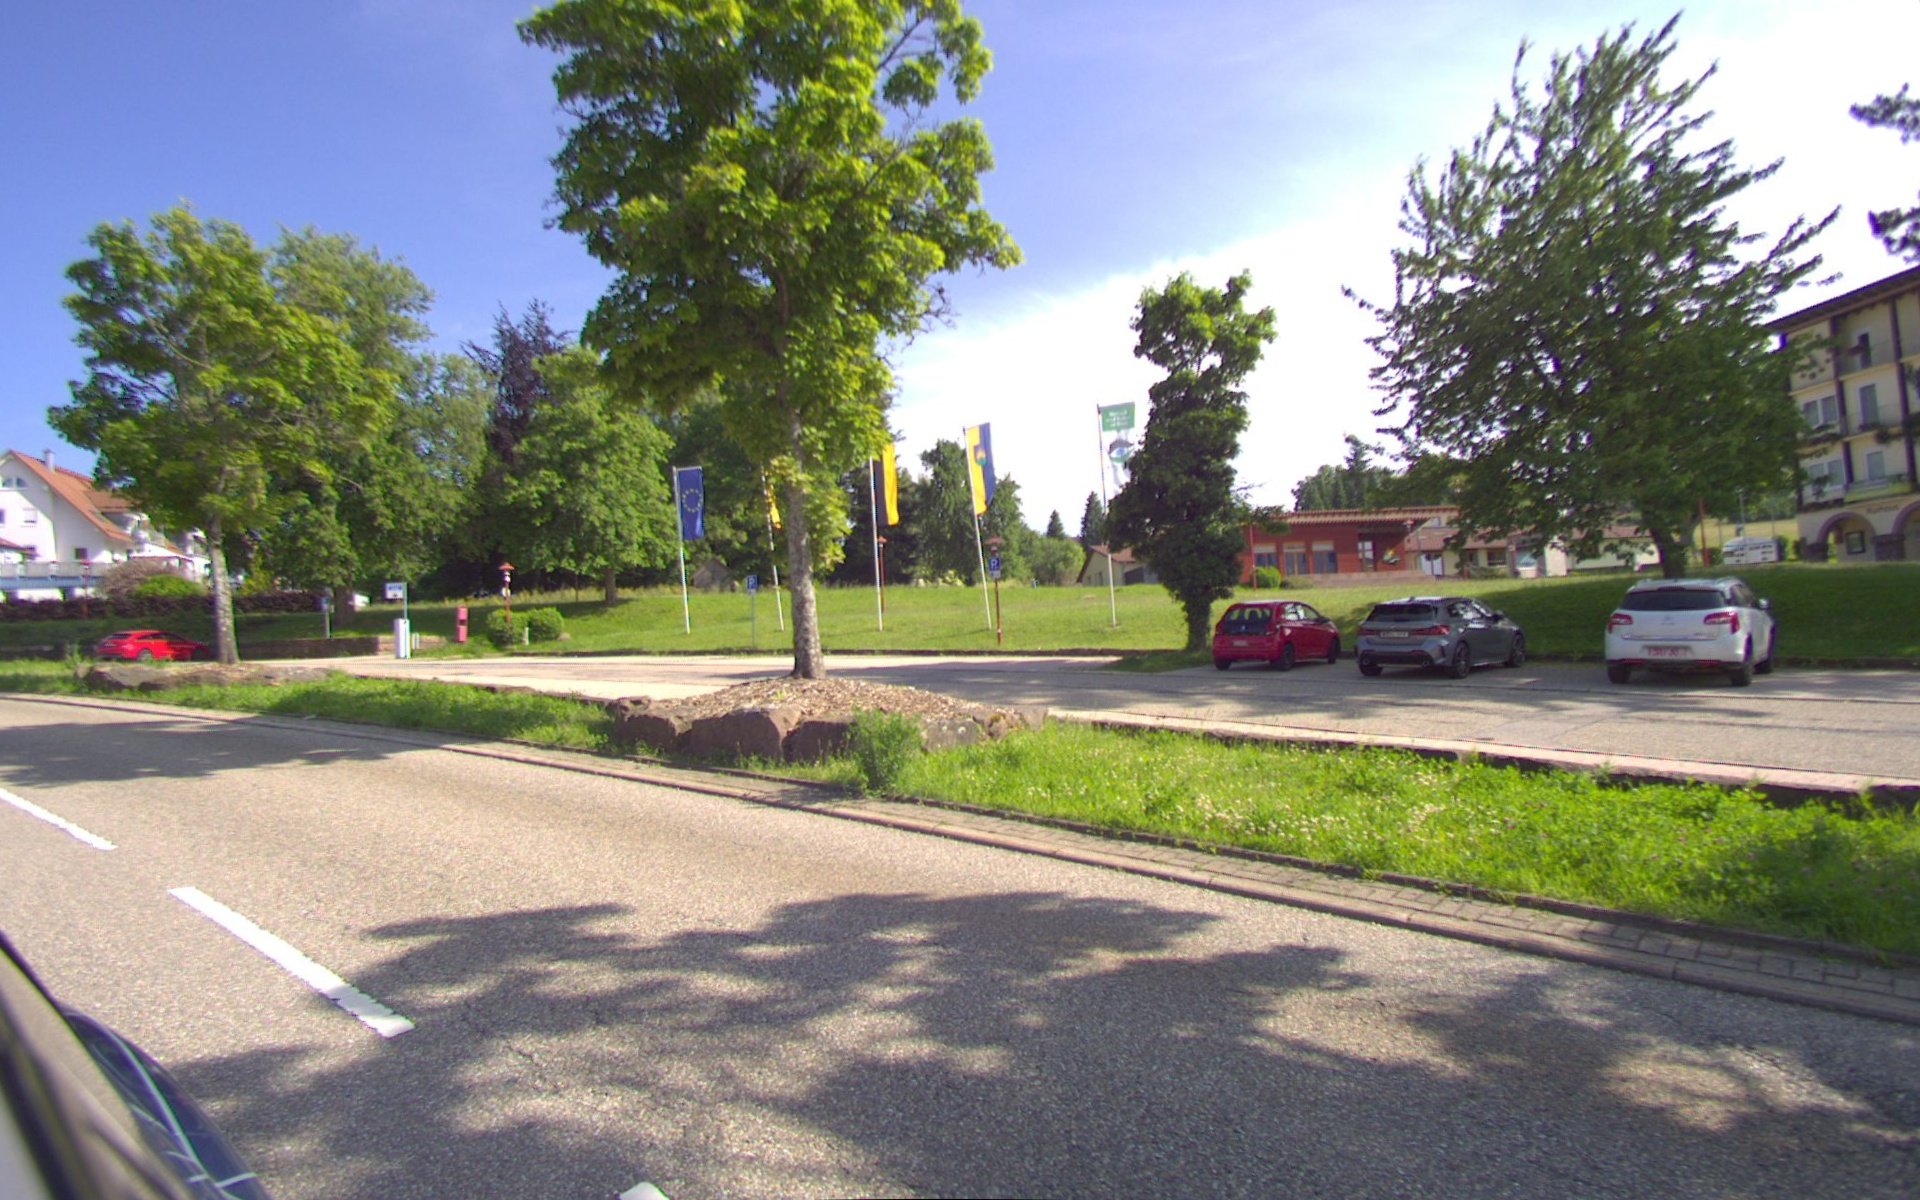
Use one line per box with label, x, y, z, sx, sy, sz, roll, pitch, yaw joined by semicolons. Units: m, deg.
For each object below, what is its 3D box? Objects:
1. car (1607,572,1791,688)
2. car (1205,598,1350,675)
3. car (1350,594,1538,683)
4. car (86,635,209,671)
car;11.832;0.407;16.109;1.777;1.621;3.884;-2;-1;45
car;6.936;0.746;21.986;1.776;1.481;3.162;-2;-1;44
car;9.032;0.656;18.799;3.655;1.444;1.779;-1;-1;-40
car;-35.968;2.322;44.953;1.802;1.409;4.229;-2;-2;7
